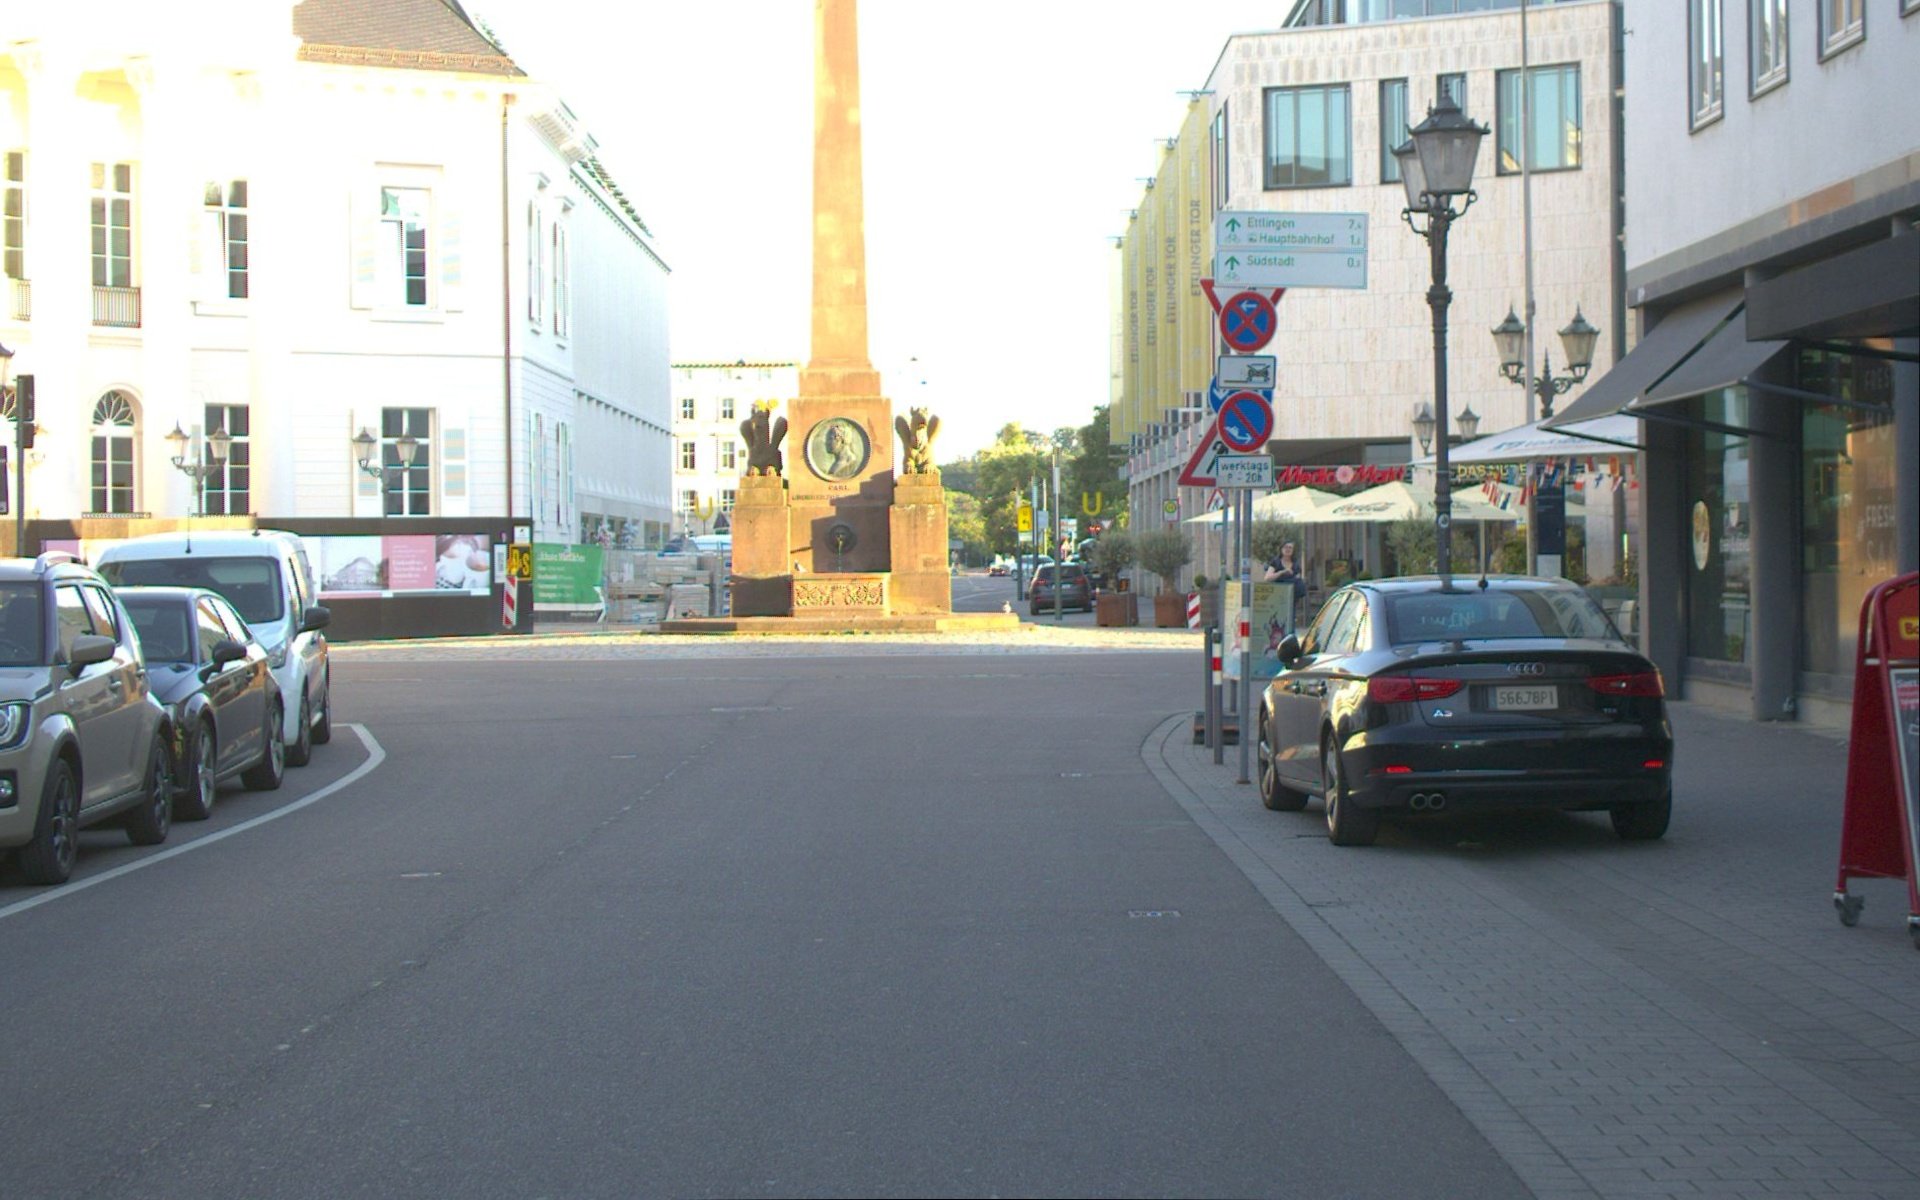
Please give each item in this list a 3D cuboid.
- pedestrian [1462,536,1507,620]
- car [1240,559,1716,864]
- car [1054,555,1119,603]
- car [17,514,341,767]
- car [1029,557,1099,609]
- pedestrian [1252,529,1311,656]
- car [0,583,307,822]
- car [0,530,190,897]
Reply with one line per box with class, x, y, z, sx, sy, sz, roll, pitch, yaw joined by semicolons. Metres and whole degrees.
pedestrian;10.864;-0.460;71.225;0.905;1.722;0.849;-1;1;9
car;2.720;0.522;18.968;1.801;1.459;4.117;-1;1;-3
car;3.985;-0.674;108.937;1.993;1.459;4.000;0;1;2
car;-6.028;0.247;27.054;1.993;1.809;4.785;0;1;-7
car;3.032;-0.513;100.476;1.993;1.459;4.000;0;1;2
pedestrian;4.209;-0.103;45.000;0.690;1.642;0.696;-1;1;0
car;-5.356;0.586;22.147;1.677;1.349;4.106;0;1;-2
car;-5.146;0.501;17.492;1.993;1.656;4.001;-1;1;-7
